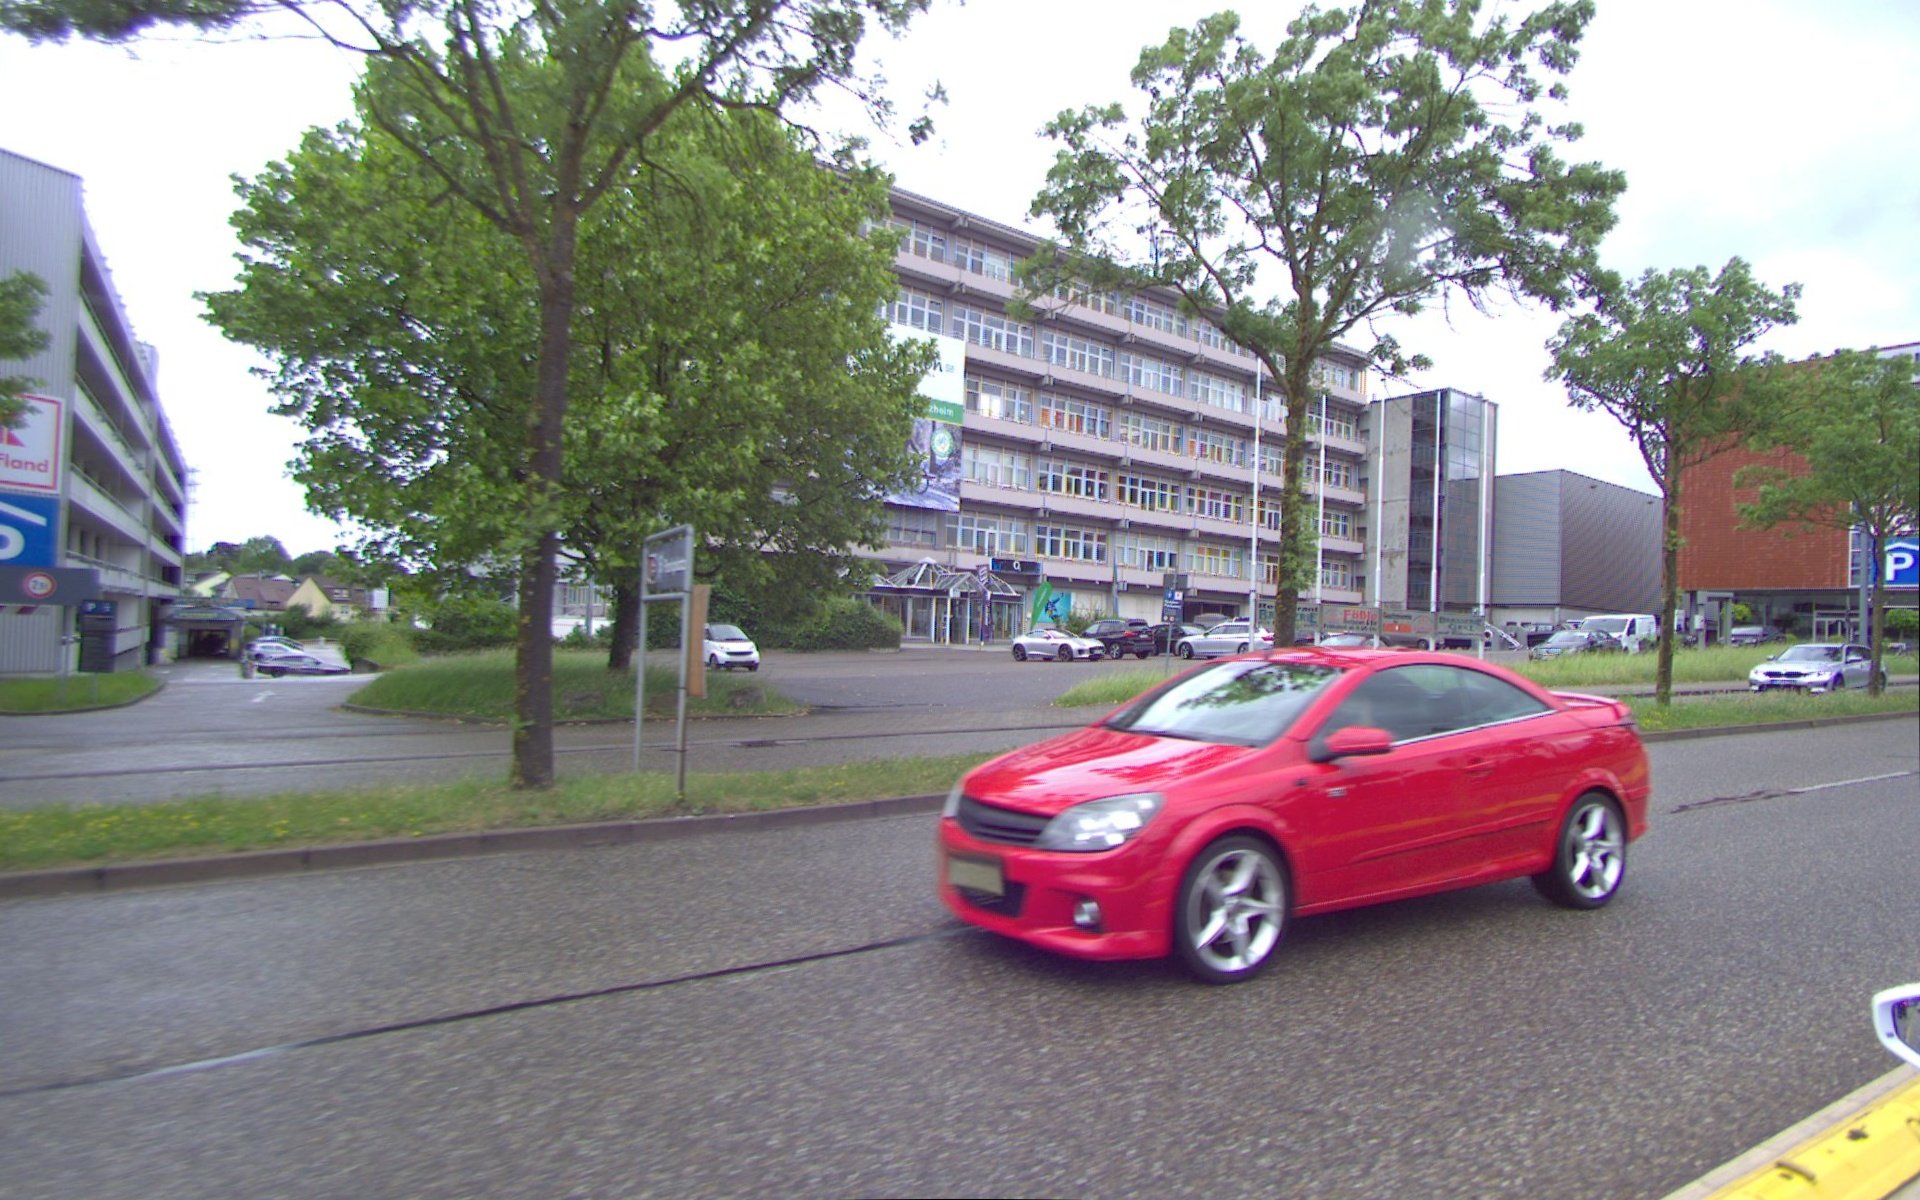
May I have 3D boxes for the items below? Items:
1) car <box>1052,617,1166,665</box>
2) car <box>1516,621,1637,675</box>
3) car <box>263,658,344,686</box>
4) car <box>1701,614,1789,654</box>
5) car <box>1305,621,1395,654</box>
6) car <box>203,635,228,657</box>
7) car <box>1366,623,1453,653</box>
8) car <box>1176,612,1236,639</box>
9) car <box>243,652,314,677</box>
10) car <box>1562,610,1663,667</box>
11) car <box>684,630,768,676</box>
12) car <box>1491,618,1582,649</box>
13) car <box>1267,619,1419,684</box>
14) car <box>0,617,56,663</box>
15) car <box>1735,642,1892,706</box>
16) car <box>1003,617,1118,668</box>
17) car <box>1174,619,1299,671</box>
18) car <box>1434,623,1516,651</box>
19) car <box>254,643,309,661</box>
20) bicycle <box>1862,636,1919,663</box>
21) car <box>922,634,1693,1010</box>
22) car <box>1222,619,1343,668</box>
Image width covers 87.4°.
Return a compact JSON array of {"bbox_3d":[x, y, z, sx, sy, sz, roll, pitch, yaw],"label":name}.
[{"bbox_3d":[6.277,1.694,42.704,2.117,1.769,4.558,-1,1,-41],"label":"car"},{"bbox_3d":[23.189,1.749,37.745,4.893,1.786,2.027,0,1,-34],"label":"car"},{"bbox_3d":[-39.087,4.261,59.850,3.963,1.530,1.781,2,-2,-37],"label":"car"},{"bbox_3d":[39.459,1.655,50.485,4.557,1.797,2.125,0,1,-33],"label":"car"},{"bbox_3d":[21.040,1.984,54.330,1.831,1.530,4.243,0,1,-38],"label":"car"},{"bbox_3d":[-71.305,4.360,96.168,1.851,2.040,3.959,1,-2,-36],"label":"car"},{"bbox_3d":[25.898,2.169,58.041,1.831,1.530,4.243,0,1,-38],"label":"car"},{"bbox_3d":[17.538,1.802,71.845,1.783,1.756,3.958,0,1,-36],"label":"car"},{"bbox_3d":[-46.487,4.407,68.593,3.958,1.530,1.783,2,1,-34],"label":"car"},{"bbox_3d":[27.266,1.529,41.916,5.078,2.124,2.096,0,1,-40],"label":"car"},{"bbox_3d":[-7.562,1.679,32.311,1.597,1.383,2.673,0,-2,-40],"label":"car"},{"bbox_3d":[32.392,1.838,56.559,1.803,1.530,4.077,0,1,-38],"label":"car"},{"bbox_3d":[11.316,1.452,29.572,4.664,1.630,1.920,0,1,-36],"label":"car"},{"bbox_3d":[-34.307,1.405,34.971,1.717,1.481,3.846,3,0,15],"label":"car"},{"bbox_3d":[22.904,1.931,26.922,4.523,1.573,1.858,1,-3,-31],"label":"car"},{"bbox_3d":[4.002,1.672,40.725,1.952,1.769,4.558,-1,1,-41],"label":"car"},{"bbox_3d":[10.862,1.714,39.735,1.949,1.769,4.563,0,1,-38],"label":"car"},{"bbox_3d":[31.436,2.230,61.401,1.803,1.530,4.077,0,1,-38],"label":"car"},{"bbox_3d":[-60.518,4.651,89.641,3.959,1.530,1.783,2,-2,-35],"label":"car"},{"bbox_3d":[41.113,2.150,43.990,1.079,0.948,2.069,2,3,-26],"label":"bicycle"},{"bbox_3d":[2.015,0.933,5.637,4.127,1.444,1.755,1,-3,-28],"label":"car"},{"bbox_3d":[13.209,1.732,41.384,1.883,1.769,4.464,0,1,-38],"label":"car"}]
